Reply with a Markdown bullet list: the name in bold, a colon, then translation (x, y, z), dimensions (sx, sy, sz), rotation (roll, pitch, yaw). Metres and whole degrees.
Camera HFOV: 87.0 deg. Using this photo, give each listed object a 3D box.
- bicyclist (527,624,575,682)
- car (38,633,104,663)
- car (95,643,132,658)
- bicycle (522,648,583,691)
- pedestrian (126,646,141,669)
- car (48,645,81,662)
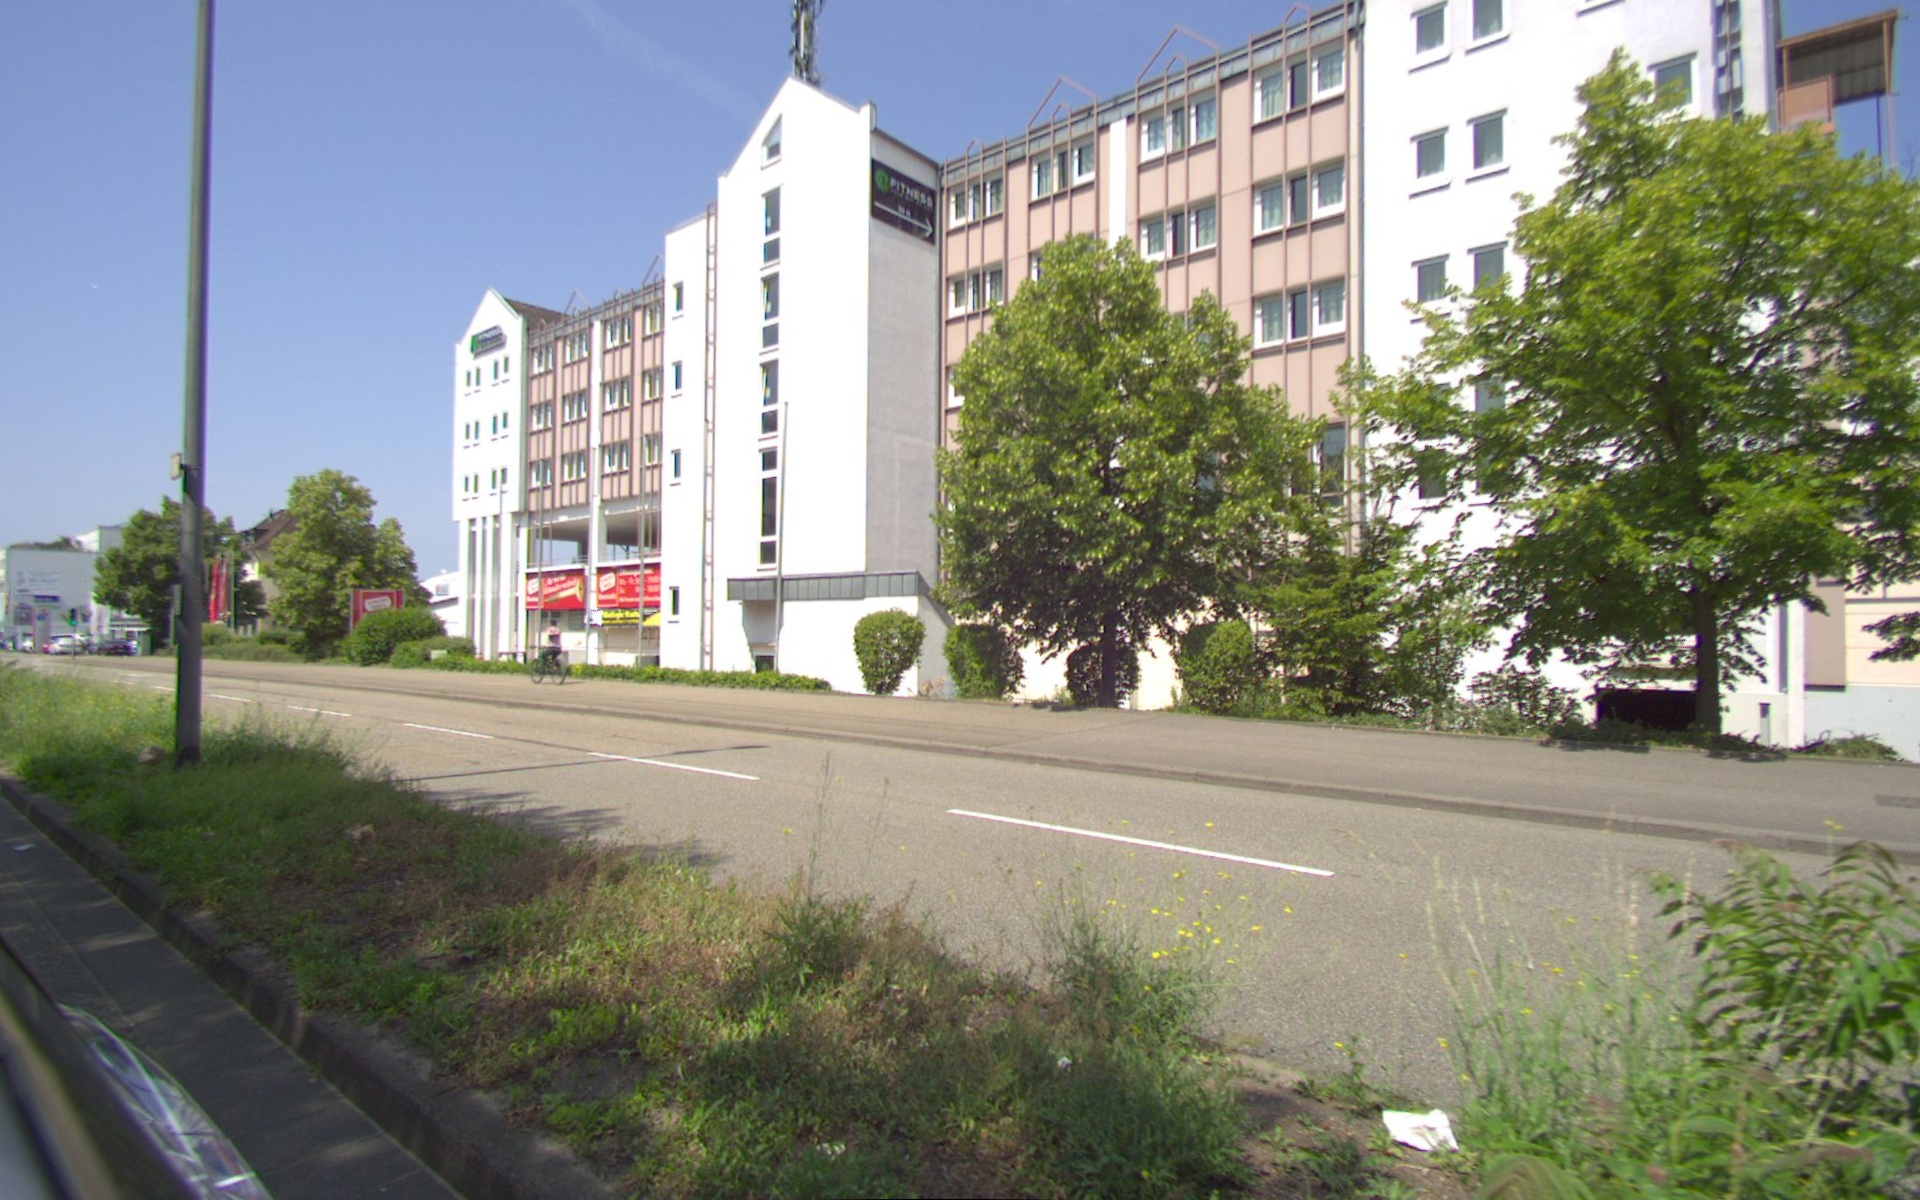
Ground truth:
- **bicyclist**: translation (-10.860, 1.399, 26.881), dimensions (1.025, 1.528, 0.710), rotation (-1, -3, 37)
- **car**: translation (-85.266, 4.580, 97.089), dimensions (4.498, 1.719, 1.762), rotation (-16, 10, -41)
- **car**: translation (-74.194, 4.421, 88.686), dimensions (3.995, 1.362, 1.715), rotation (-2, -4, 38)
- **bicycle**: translation (-10.817, 1.815, 26.820), dimensions (2.060, 1.081, 0.545), rotation (-1, -2, 38)
- **pedestrian**: translation (-64.561, 4.473, 79.016), dimensions (1.033, 1.760, 0.732), rotation (-3, -4, 43)
- **car**: translation (-76.838, 4.618, 86.810), dimensions (4.760, 1.421, 1.756), rotation (-3, -5, 44)
